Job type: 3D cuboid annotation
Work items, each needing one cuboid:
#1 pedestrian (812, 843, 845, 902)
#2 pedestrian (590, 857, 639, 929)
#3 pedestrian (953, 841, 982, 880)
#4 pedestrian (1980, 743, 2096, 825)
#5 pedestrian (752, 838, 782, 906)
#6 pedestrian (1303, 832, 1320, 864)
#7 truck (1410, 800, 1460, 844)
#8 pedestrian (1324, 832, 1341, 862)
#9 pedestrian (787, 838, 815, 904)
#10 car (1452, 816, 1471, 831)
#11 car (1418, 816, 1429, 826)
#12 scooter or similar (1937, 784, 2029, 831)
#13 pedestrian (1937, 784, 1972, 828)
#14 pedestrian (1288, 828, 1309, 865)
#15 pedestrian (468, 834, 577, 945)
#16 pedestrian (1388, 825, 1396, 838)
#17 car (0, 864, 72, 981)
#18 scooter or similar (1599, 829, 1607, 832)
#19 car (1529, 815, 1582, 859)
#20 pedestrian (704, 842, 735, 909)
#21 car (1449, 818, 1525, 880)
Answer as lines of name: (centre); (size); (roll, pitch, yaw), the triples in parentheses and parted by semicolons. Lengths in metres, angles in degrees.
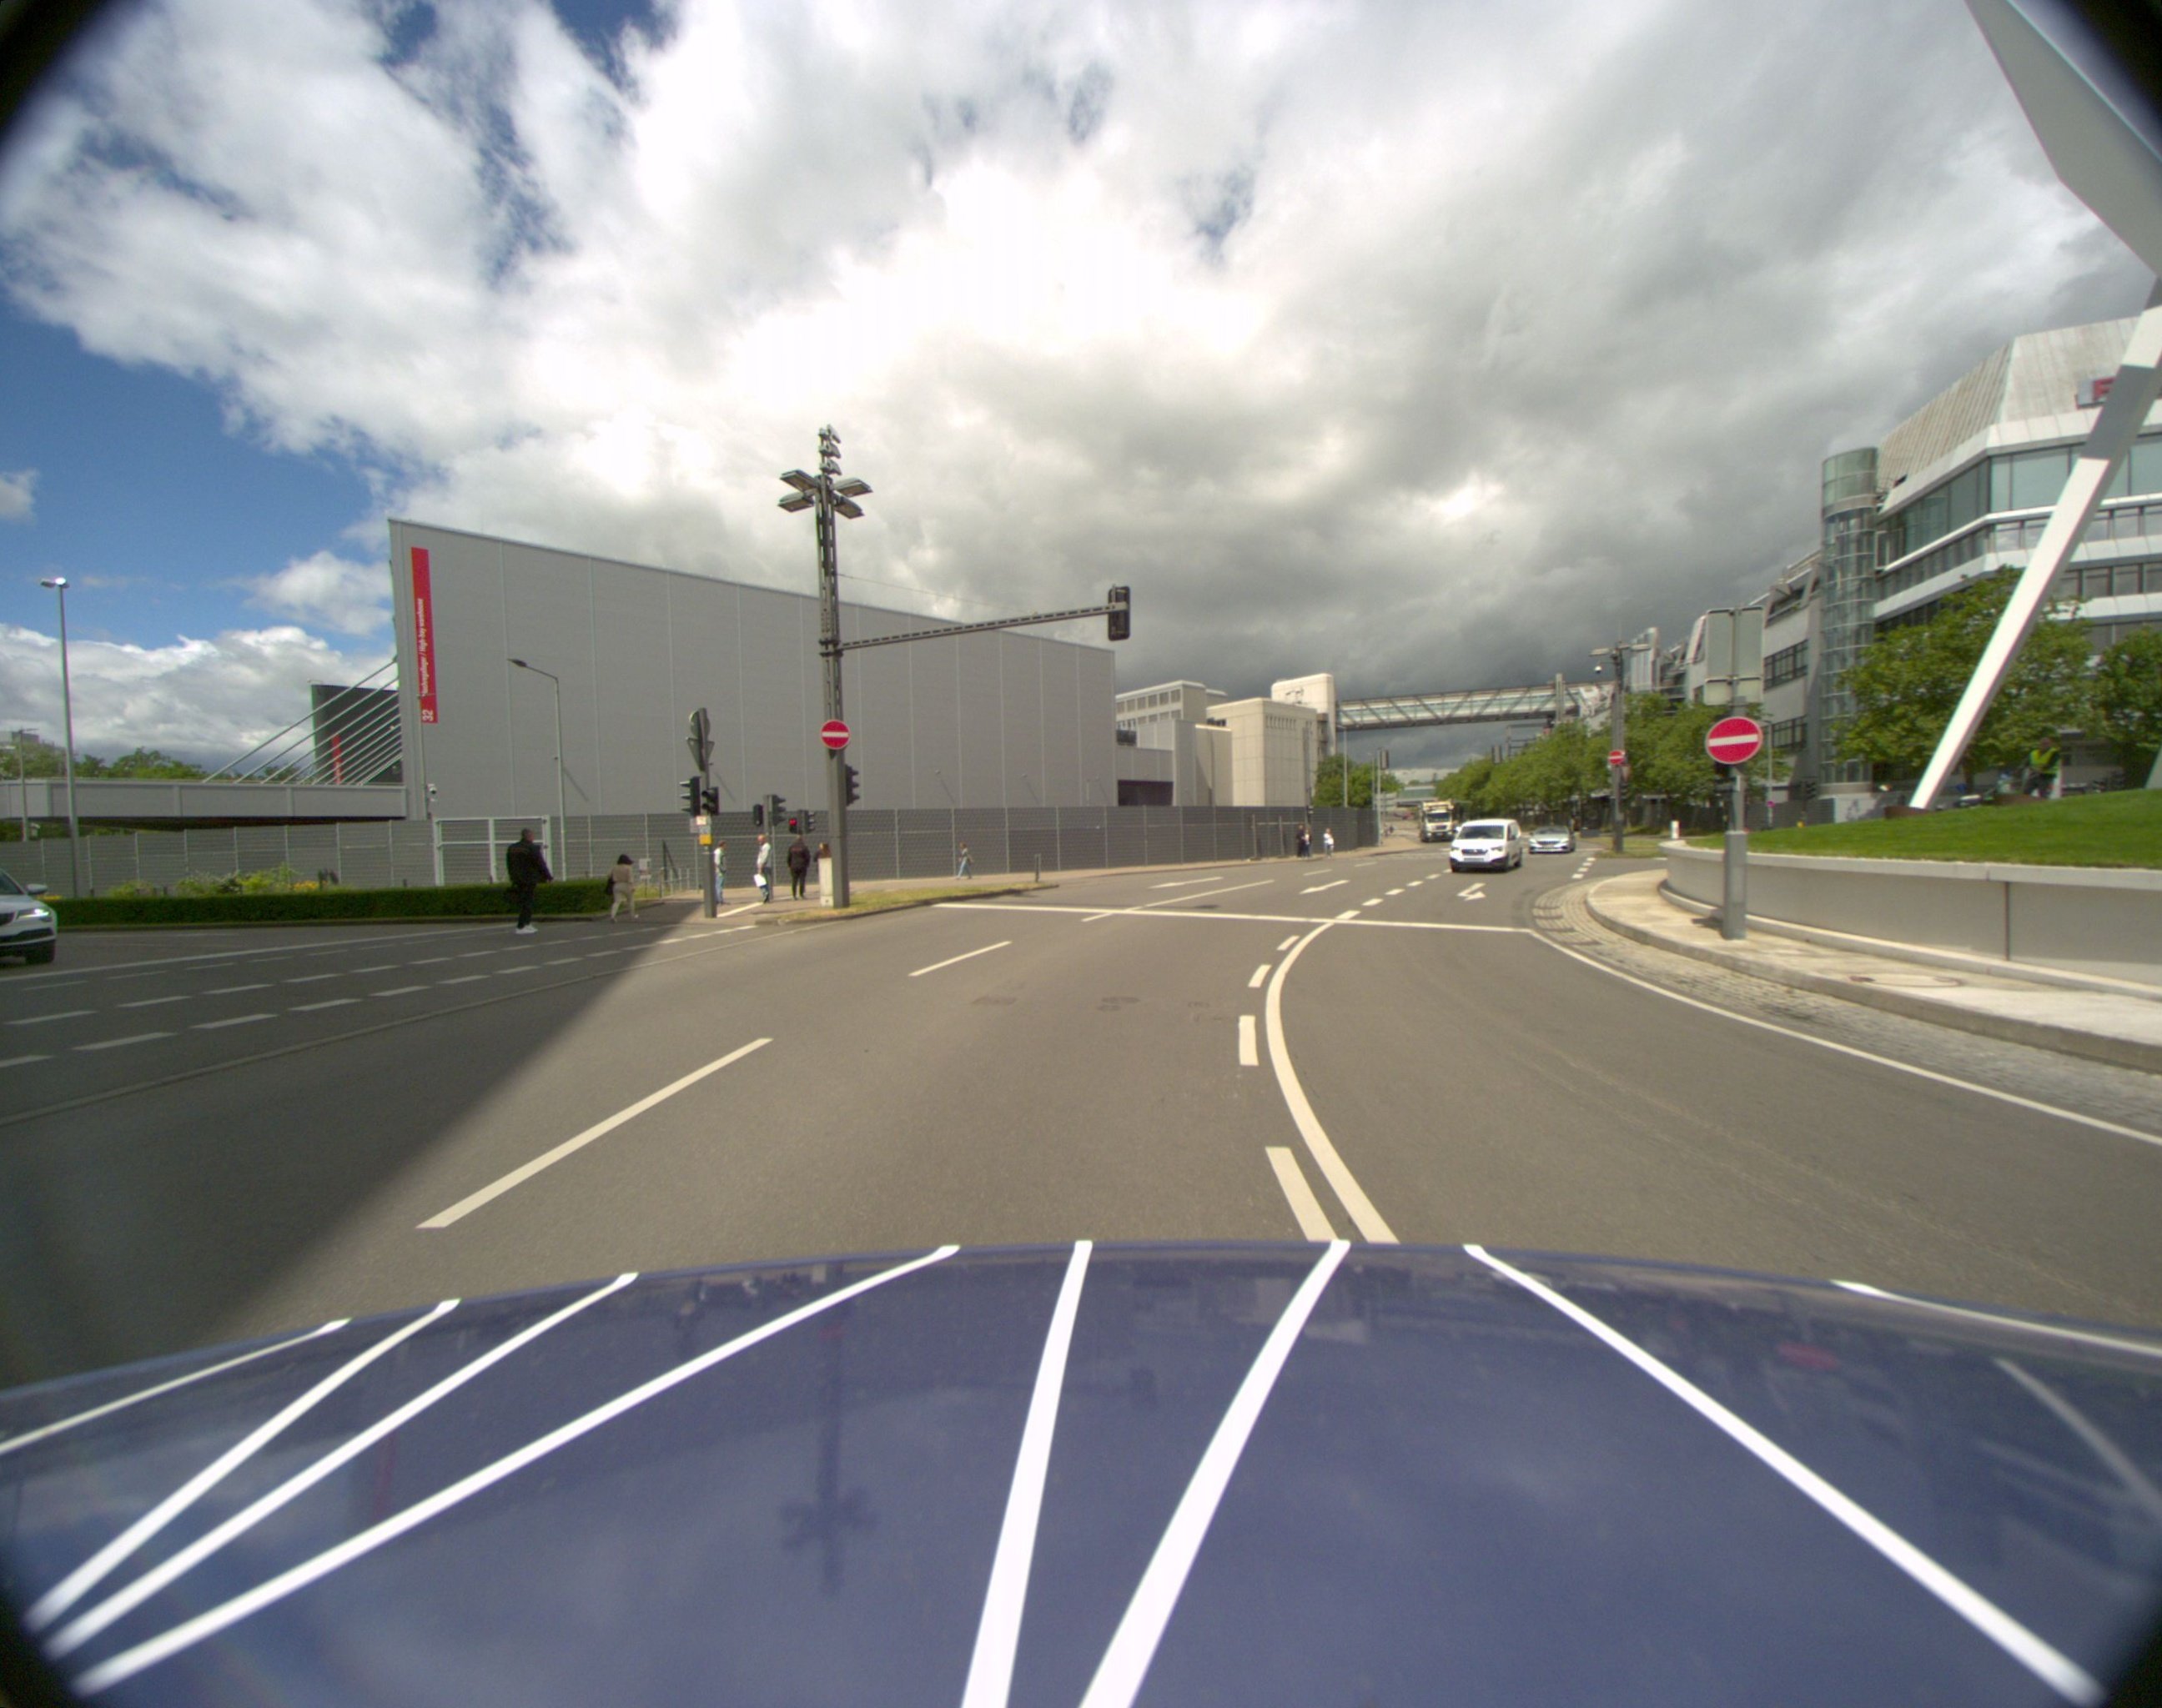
pedestrian: (-7.201, 0.517, 21.726); (0.673, 1.629, 0.619); (-3, 3, -6)
pedestrian: (-10.187, 0.837, 16.613); (0.583, 1.488, 0.770); (-4, 3, -12)
pedestrian: (-4.823, 0.275, 32.318); (0.922, 1.577, 0.693); (-5, 3, -37)
pedestrian: (21.945, -1.581, 17.461); (1.284, 1.807, 0.986); (0, 3, 4)
pedestrian: (-8.729, 0.481, 21.104); (0.621, 1.837, 0.671); (-4, 3, -25)
pedestrian: (12.202, -0.323, 40.278); (0.663, 1.607, 0.464); (-4, 3, -18)
truck: (34.487, -3.117, 74.392); (2.710, 3.864, 10.750); (-2, 2, 16)
pedestrian: (14.086, -0.378, 42.501); (0.660, 1.599, 0.824); (-1, 3, 32)
pedestrian: (-7.928, 0.469, 21.502); (0.621, 1.785, 0.671); (-4, 3, -23)
car: (55.036, -4.379, 109.950); (1.869, 1.945, 4.716); (-3, 3, 21)
car: (75.047, -7.228, 166.308); (1.869, 1.945, 4.716); (-3, 3, 21)
scooter or similar: (20.691, -1.062, 17.446); (1.403, 1.020, 0.550); (-2, 3, 2)
pedestrian: (42.549, -2.326, 37.023); (0.952, 2.044, 0.952); (-1, 3, 39)
pedestrian: (11.462, -0.401, 40.031); (0.794, 1.856, 0.660); (-4, 3, -17)
pedestrian: (-10.555, 0.634, 14.392); (0.954, 1.973, 1.384); (-1, 1, 37)
pedestrian: (41.606, -2.979, 101.701); (0.795, 1.711, 0.732); (-2, 3, 17)
car: (-16.929, 0.998, 11.105); (3.989, 1.541, 1.841); (0, 4, 27)
scooter or similar: (59.422, -2.676, 86.513); (1.275, 0.321, 0.537); (-3, 2, -45)
car: (24.375, -0.913, 38.968); (1.868, 1.945, 4.719); (-2, 3, 37)
pedestrian: (-9.838, 0.577, 20.717); (0.621, 1.750, 0.605); (-4, 3, -23)
car: (14.818, -0.235, 27.620); (1.821, 2.002, 4.398); (-1, 2, 36)
